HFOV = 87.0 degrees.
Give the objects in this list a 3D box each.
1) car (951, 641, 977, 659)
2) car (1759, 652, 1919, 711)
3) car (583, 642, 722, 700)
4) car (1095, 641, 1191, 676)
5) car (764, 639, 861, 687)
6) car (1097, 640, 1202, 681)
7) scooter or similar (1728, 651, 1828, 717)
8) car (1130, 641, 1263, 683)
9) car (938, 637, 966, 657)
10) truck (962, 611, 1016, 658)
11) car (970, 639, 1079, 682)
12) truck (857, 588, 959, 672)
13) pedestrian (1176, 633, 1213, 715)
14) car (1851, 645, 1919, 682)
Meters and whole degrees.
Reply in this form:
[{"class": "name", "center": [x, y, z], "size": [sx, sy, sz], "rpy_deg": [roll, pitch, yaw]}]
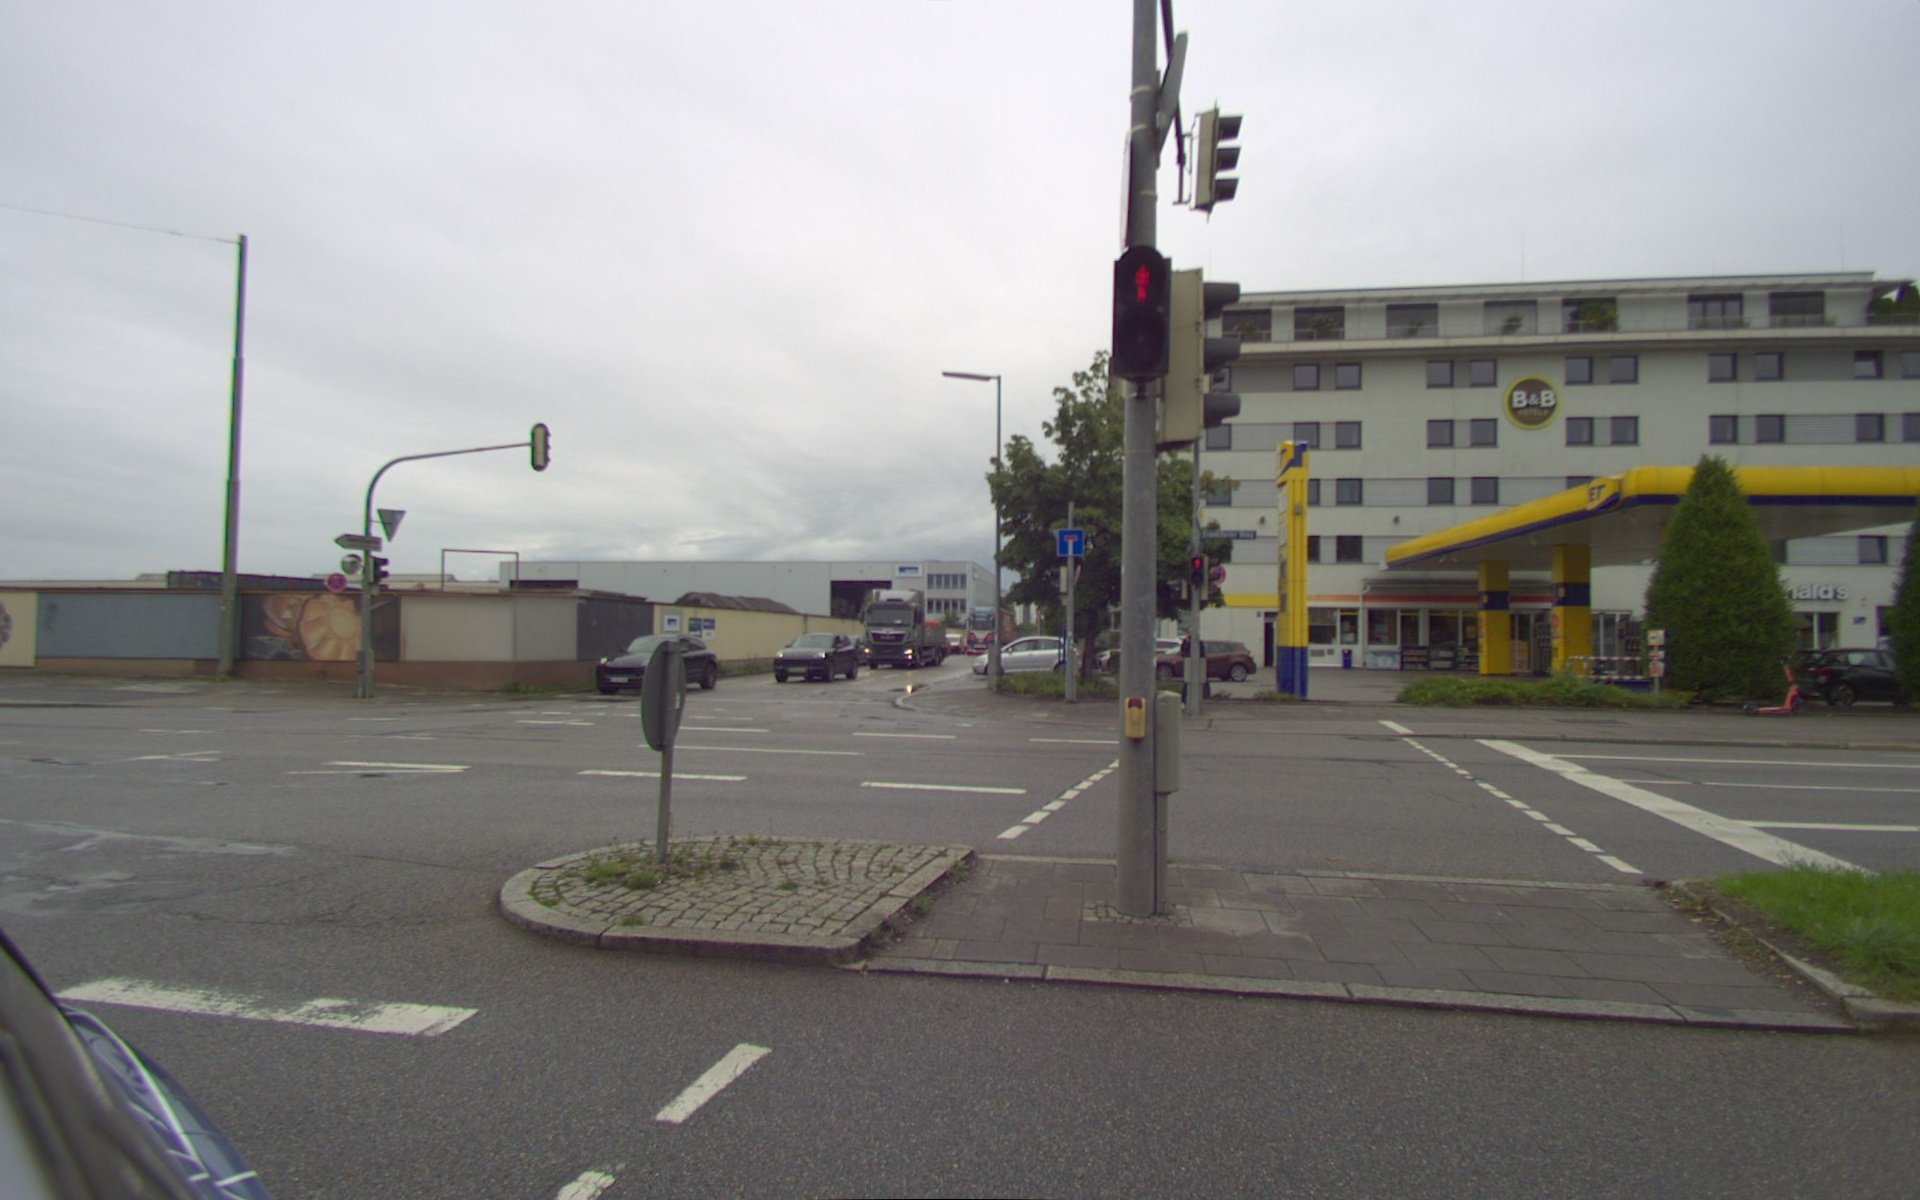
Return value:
[{"class": "car", "center": [0.429, 4.844, 97.529], "size": [1.852, 1.719, 4.091], "rpy_deg": [0, -4, 9]}, {"class": "car", "center": [22.261, 1.979, 24.644], "size": [3.952, 1.342, 1.796], "rpy_deg": [0, -4, 7]}, {"class": "car", "center": [-8.473, 1.918, 28.307], "size": [1.979, 1.439, 4.249], "rpy_deg": [0, -2, 11]}, {"class": "car", "center": [8.164, 2.626, 45.419], "size": [4.144, 1.489, 1.904], "rpy_deg": [0, -4, 8]}, {"class": "car", "center": [-5.066, 2.149, 35.519], "size": [1.979, 1.544, 4.616], "rpy_deg": [0, -2, 11]}, {"class": "car", "center": [7.336, 2.342, 39.336], "size": [3.934, 1.497, 1.623], "rpy_deg": [0, -4, 10]}, {"class": "scooter or similar", "center": [16.201, 1.652, 20.071], "size": [1.530, 1.252, 0.355], "rpy_deg": [0, 0, 14]}, {"class": "car", "center": [8.334, 2.207, 35.890], "size": [4.300, 1.395, 1.704], "rpy_deg": [1, -4, -1]}, {"class": "car", "center": [-0.671, 4.211, 90.305], "size": [1.852, 1.719, 4.091], "rpy_deg": [0, -4, 9]}, {"class": "truck", "center": [2.648, 3.038, 88.284], "size": [2.848, 3.861, 11.895], "rpy_deg": [0, -2, 11]}, {"class": "car", "center": [2.406, 2.253, 37.462], "size": [3.930, 1.497, 1.625], "rpy_deg": [0, -4, 7]}, {"class": "truck", "center": [-2.445, 1.594, 52.892], "size": [2.582, 3.885, 11.895], "rpy_deg": [0, -2, 11]}, {"class": "pedestrian", "center": [4.856, 1.513, 20.990], "size": [0.679, 1.627, 0.803], "rpy_deg": [0, 0, 8]}, {"class": "car", "center": [51.367, 3.514, 55.594], "size": [1.703, 1.958, 3.986], "rpy_deg": [0, -4, 10]}]
